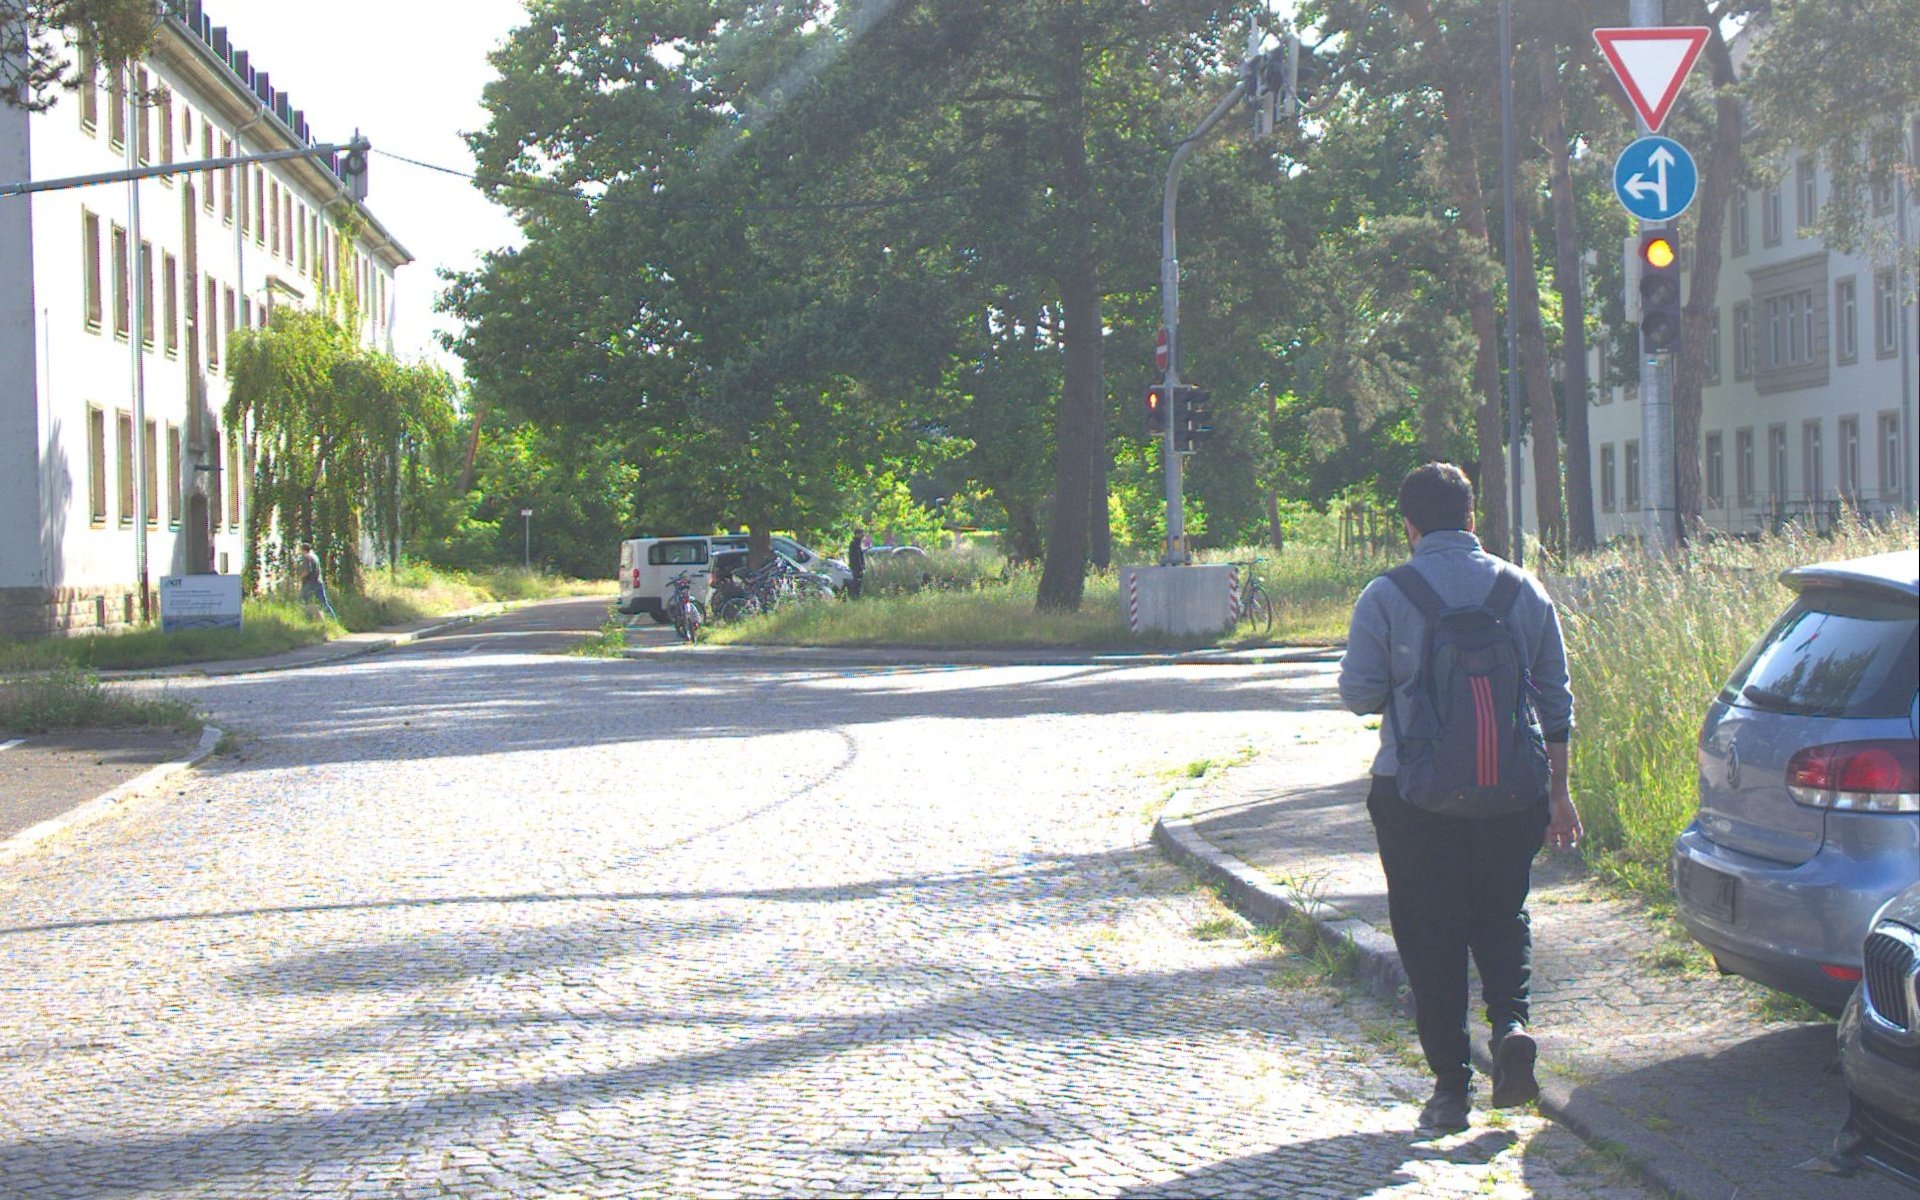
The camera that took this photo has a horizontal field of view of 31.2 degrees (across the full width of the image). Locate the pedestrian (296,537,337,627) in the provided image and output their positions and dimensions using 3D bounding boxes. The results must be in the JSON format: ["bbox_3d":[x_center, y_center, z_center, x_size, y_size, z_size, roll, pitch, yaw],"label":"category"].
[{"bbox_3d":[-12.576,-0.358,67.182,0.606,1.746,0.630,-1,1,-27],"label":"pedestrian"}]

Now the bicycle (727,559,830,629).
[{"bbox_3d":[-3.139,-0.100,59.432,1.727,1.160,0.561,-1,1,-7],"label":"bicycle"}]

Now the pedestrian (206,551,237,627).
[{"bbox_3d":[-15.335,-0.230,71.391,0.606,1.554,0.545,-1,1,-11],"label":"pedestrian"}]

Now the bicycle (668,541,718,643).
[{"bbox_3d":[-4.280,-0.148,55.092,0.753,1.575,2.537,-1,1,-5],"label":"bicycle"}]

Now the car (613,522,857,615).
[{"bbox_3d":[-4.987,-0.714,76.015,5.065,1.911,2.001,-1,1,-13],"label":"car"}]

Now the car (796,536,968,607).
[{"bbox_3d":[-1.835,-0.678,80.089,3.743,1.574,1.742,-1,1,-11],"label":"car"}]

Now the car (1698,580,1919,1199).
[{"bbox_3d":[4.093,0.588,7.055,4.618,1.450,1.870,-3,1,-6],"label":"car"}]

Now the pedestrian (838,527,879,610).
[{"bbox_3d":[-2.204,-0.691,74.636,0.759,1.777,0.684,-1,1,-12],"label":"pedestrian"}]

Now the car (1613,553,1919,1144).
[{"bbox_3d":[3.881,0.547,9.616,3.673,1.438,1.665,-3,1,-4],"label":"car"}]

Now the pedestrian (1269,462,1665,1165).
[{"bbox_3d":[1.305,0.532,9.010,0.753,1.719,0.829,4,1,-5],"label":"pedestrian"}]

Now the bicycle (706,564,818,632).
[{"bbox_3d":[-3.349,-0.039,58.189,1.834,1.108,0.495,-1,1,-7],"label":"bicycle"}]

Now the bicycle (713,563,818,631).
[{"bbox_3d":[-3.322,-0.048,58.737,1.727,1.108,0.484,-1,1,-7],"label":"bicycle"}]

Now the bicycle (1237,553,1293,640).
[{"bbox_3d":[4.156,-0.063,46.768,0.722,1.111,2.583,-1,1,5],"label":"bicycle"}]
